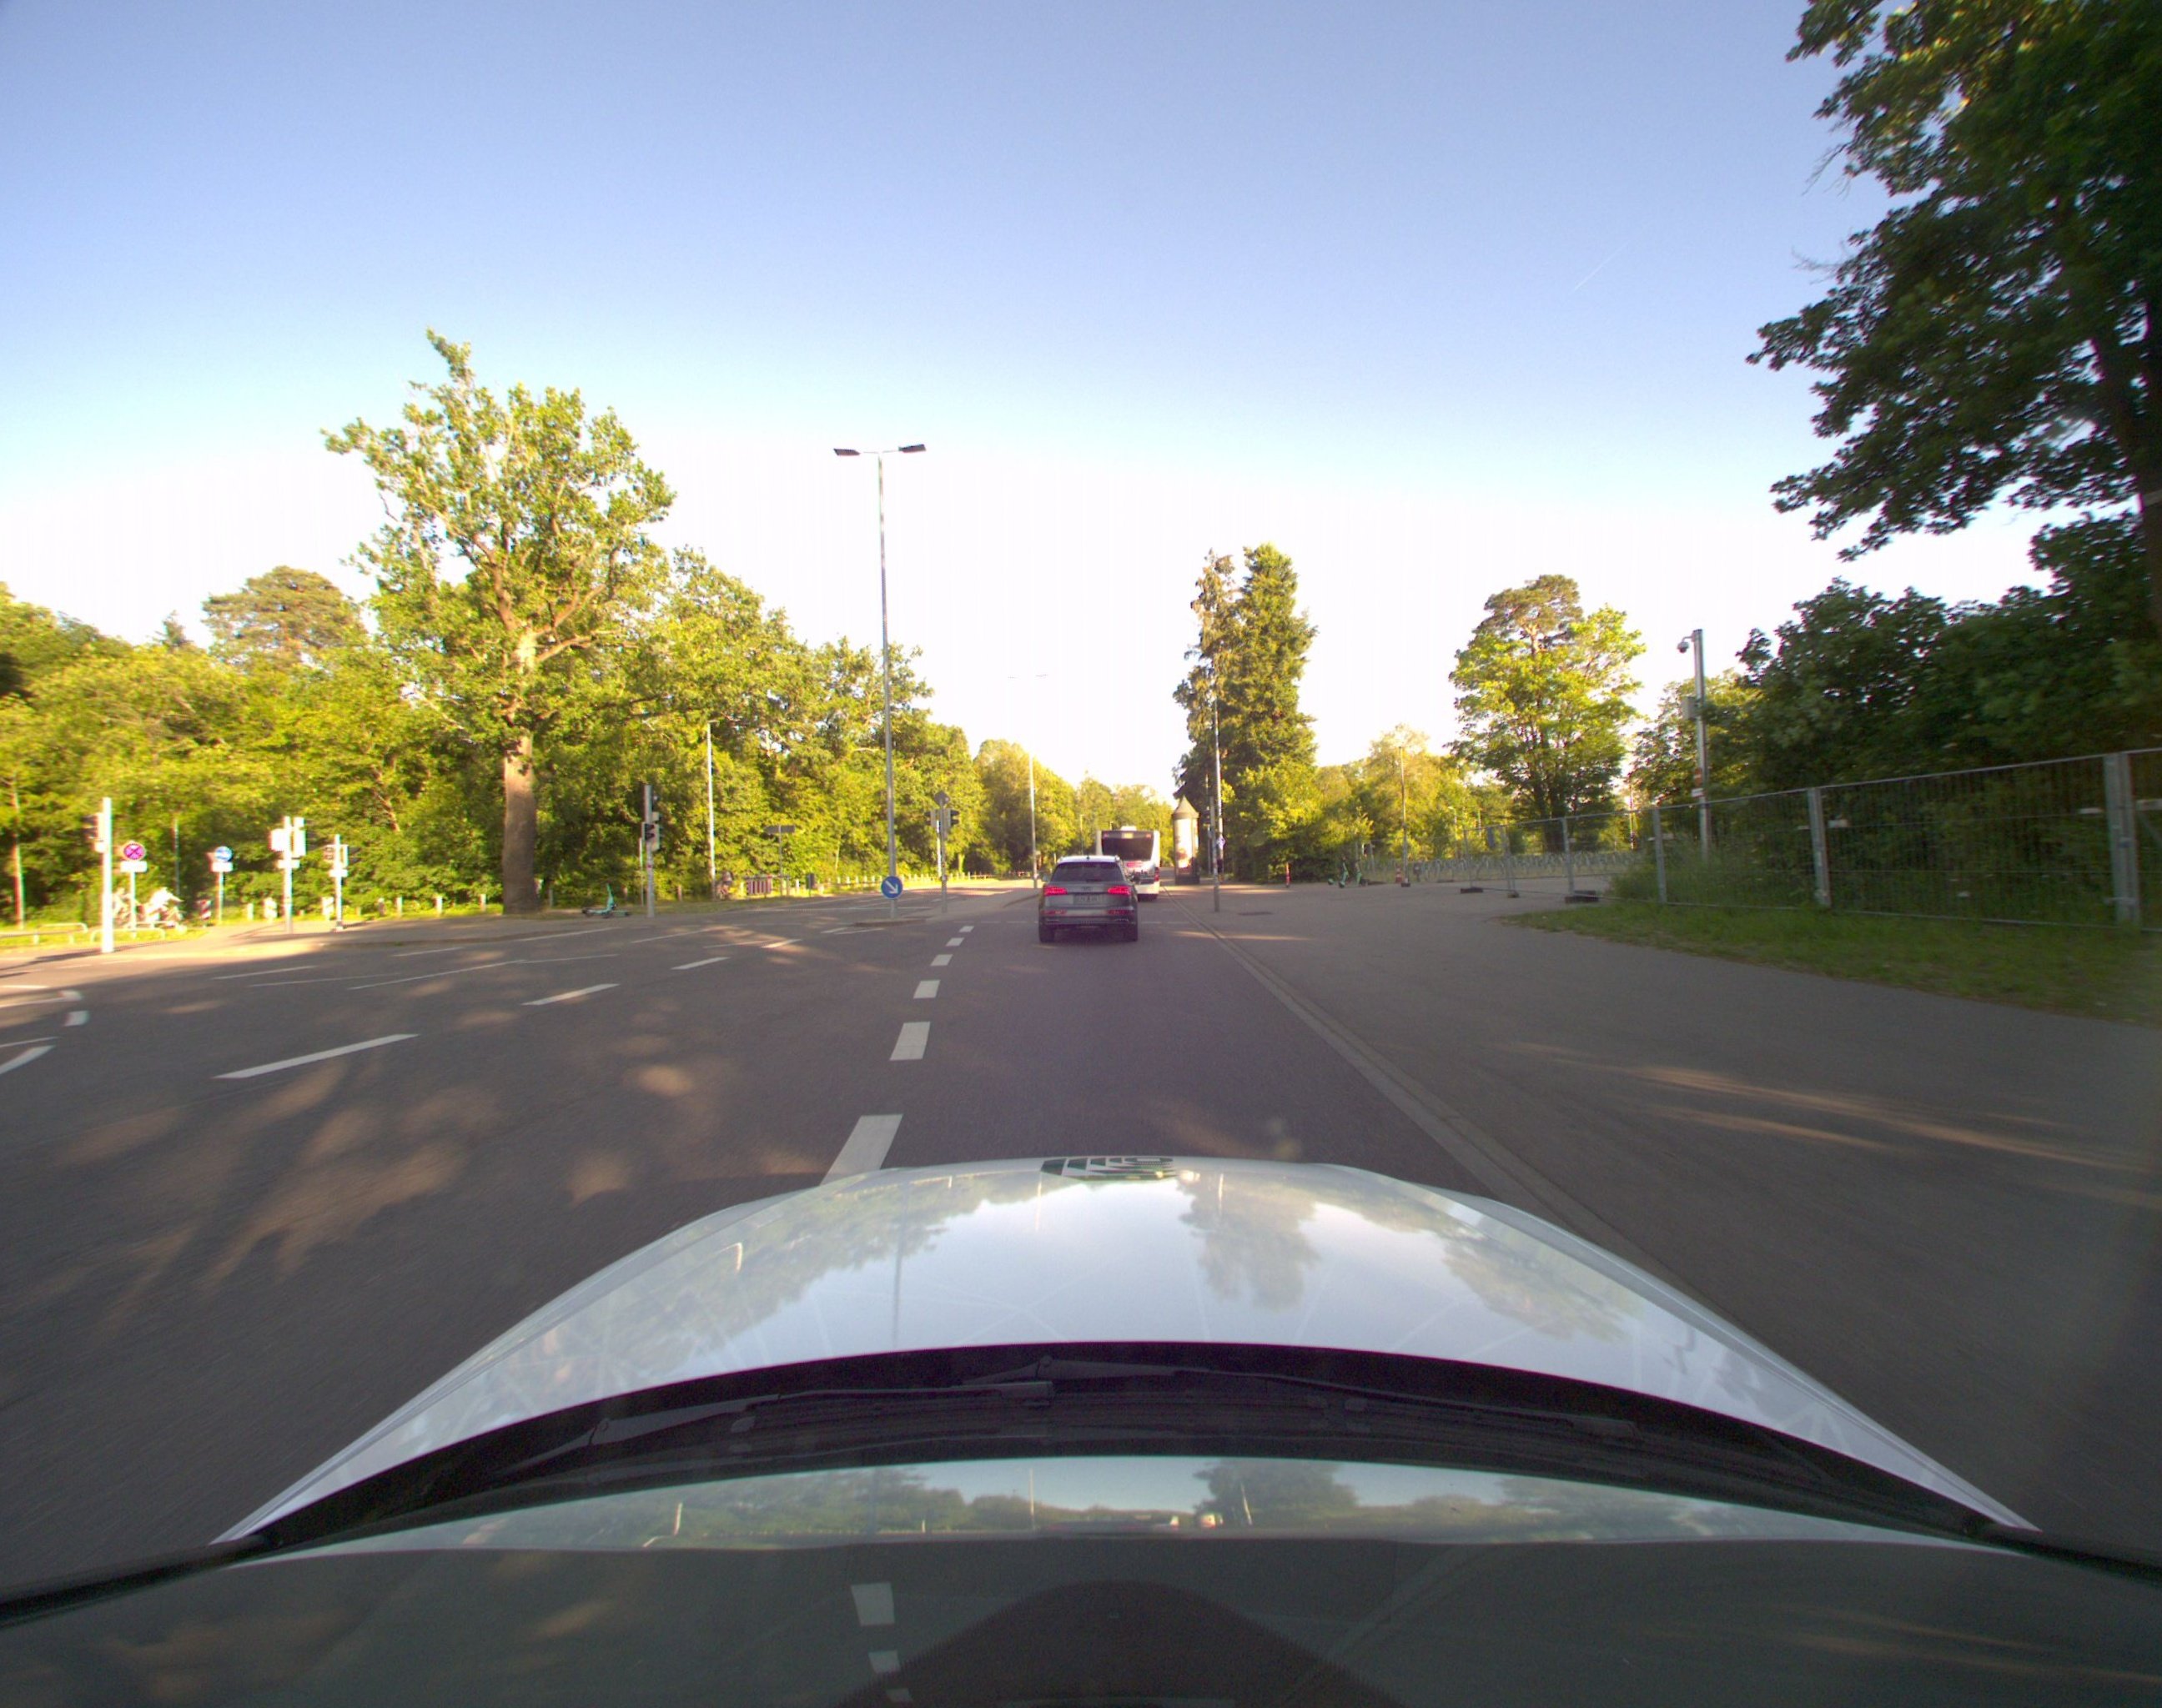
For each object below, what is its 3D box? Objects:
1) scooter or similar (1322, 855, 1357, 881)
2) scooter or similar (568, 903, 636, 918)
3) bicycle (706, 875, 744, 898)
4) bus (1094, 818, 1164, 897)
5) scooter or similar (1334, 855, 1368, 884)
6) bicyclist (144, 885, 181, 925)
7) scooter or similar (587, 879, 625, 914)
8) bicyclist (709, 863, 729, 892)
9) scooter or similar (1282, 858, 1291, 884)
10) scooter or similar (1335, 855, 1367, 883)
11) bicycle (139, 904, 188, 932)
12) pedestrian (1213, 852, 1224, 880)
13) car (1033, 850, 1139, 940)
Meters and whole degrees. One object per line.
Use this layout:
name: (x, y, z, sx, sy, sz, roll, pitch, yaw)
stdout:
scooter or similar: (12.206, 0.656, 38.468, 1.424, 1.167, 0.396, -4, -3, 32)
scooter or similar: (-15.527, 1.837, 26.449, 1.398, 0.339, 1.264, -2, 0, 10)
bicycle: (-19.694, 1.793, 45.056, 0.674, 1.154, 1.995, -1, 1, 21)
bus: (2.118, 0.225, 37.631, 2.679, 3.043, 12.047, 0, -1, 2)
scooter or similar: (11.575, 0.661, 34.926, 1.258, 1.147, 0.395, -4, -3, 10)
bicyclist: (-35.501, 1.952, 31.489, 0.790, 1.483, 0.734, -1, -1, 25)
scooter or similar: (-16.215, 1.444, 27.798, 1.060, 1.146, 0.395, -2, 0, 10)
bicyclist: (-19.857, 1.292, 44.656, 0.557, 1.551, 0.804, -1, 1, 20)
scooter or similar: (9.700, 0.777, 38.408, 0.279, 1.171, 1.413, -3, 0, 12)
scooter or similar: (11.793, 0.658, 35.558, 1.232, 1.167, 0.396, -3, -2, 27)
bicycle: (-35.424, 2.460, 31.443, 1.571, 0.977, 0.789, -1, -1, 24)
pedestrian: (8.212, 0.705, 48.605, 0.621, 1.688, 0.885, -1, -1, 12)
car: (0.182, 0.753, 16.887, 1.885, 1.605, 4.547, 0, -1, 2)
